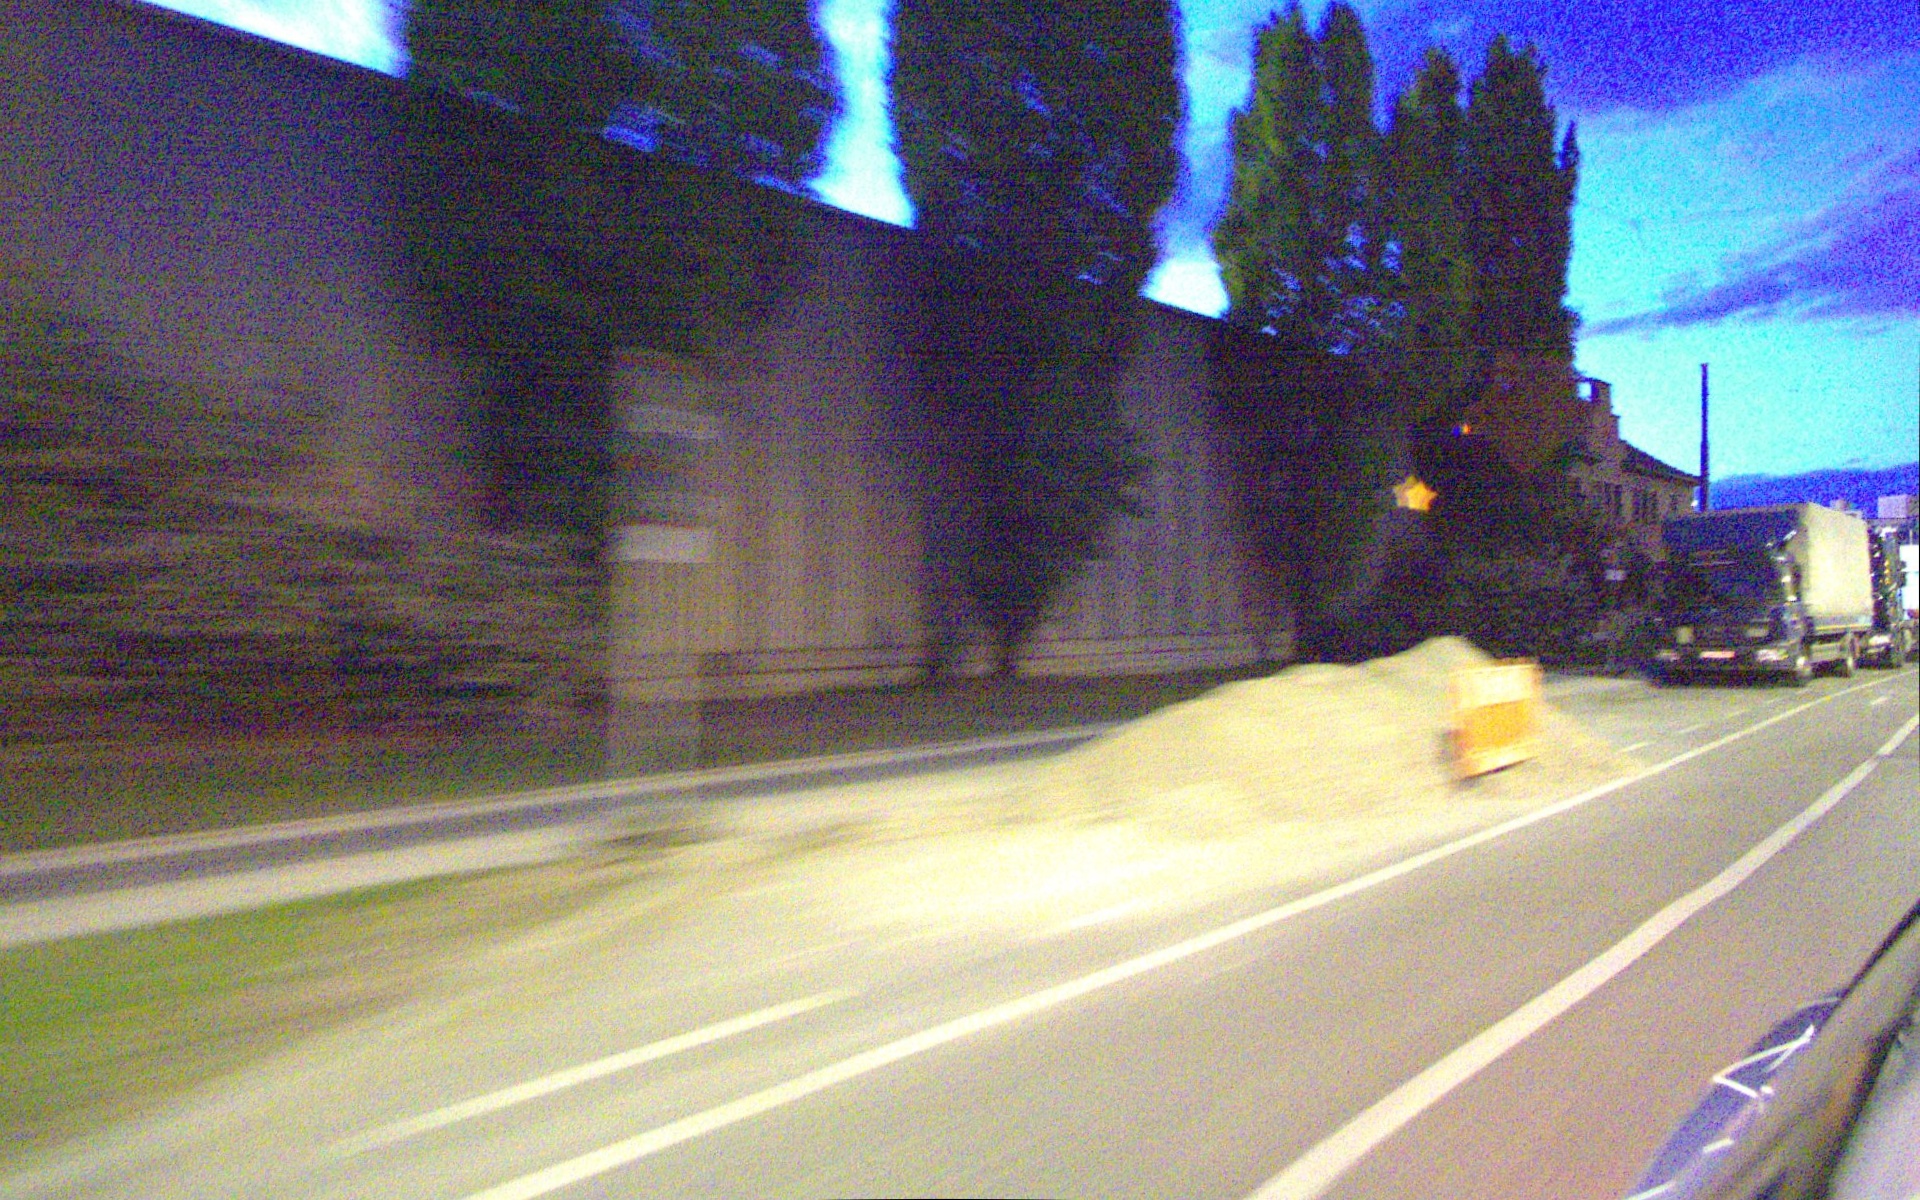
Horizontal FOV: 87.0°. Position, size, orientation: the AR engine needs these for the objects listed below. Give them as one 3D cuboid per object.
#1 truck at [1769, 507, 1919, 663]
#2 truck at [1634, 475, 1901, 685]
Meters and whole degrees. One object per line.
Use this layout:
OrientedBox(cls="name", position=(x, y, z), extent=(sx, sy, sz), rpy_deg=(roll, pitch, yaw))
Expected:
OrientedBox(cls="truck", position=(25.928, -0.353, 28.806), extent=(8.973, 3.831, 2.761), rpy_deg=(0, -1, -40))
OrientedBox(cls="truck", position=(18.444, -0.337, 22.755), extent=(10.044, 3.831, 2.760), rpy_deg=(0, -1, -40))
